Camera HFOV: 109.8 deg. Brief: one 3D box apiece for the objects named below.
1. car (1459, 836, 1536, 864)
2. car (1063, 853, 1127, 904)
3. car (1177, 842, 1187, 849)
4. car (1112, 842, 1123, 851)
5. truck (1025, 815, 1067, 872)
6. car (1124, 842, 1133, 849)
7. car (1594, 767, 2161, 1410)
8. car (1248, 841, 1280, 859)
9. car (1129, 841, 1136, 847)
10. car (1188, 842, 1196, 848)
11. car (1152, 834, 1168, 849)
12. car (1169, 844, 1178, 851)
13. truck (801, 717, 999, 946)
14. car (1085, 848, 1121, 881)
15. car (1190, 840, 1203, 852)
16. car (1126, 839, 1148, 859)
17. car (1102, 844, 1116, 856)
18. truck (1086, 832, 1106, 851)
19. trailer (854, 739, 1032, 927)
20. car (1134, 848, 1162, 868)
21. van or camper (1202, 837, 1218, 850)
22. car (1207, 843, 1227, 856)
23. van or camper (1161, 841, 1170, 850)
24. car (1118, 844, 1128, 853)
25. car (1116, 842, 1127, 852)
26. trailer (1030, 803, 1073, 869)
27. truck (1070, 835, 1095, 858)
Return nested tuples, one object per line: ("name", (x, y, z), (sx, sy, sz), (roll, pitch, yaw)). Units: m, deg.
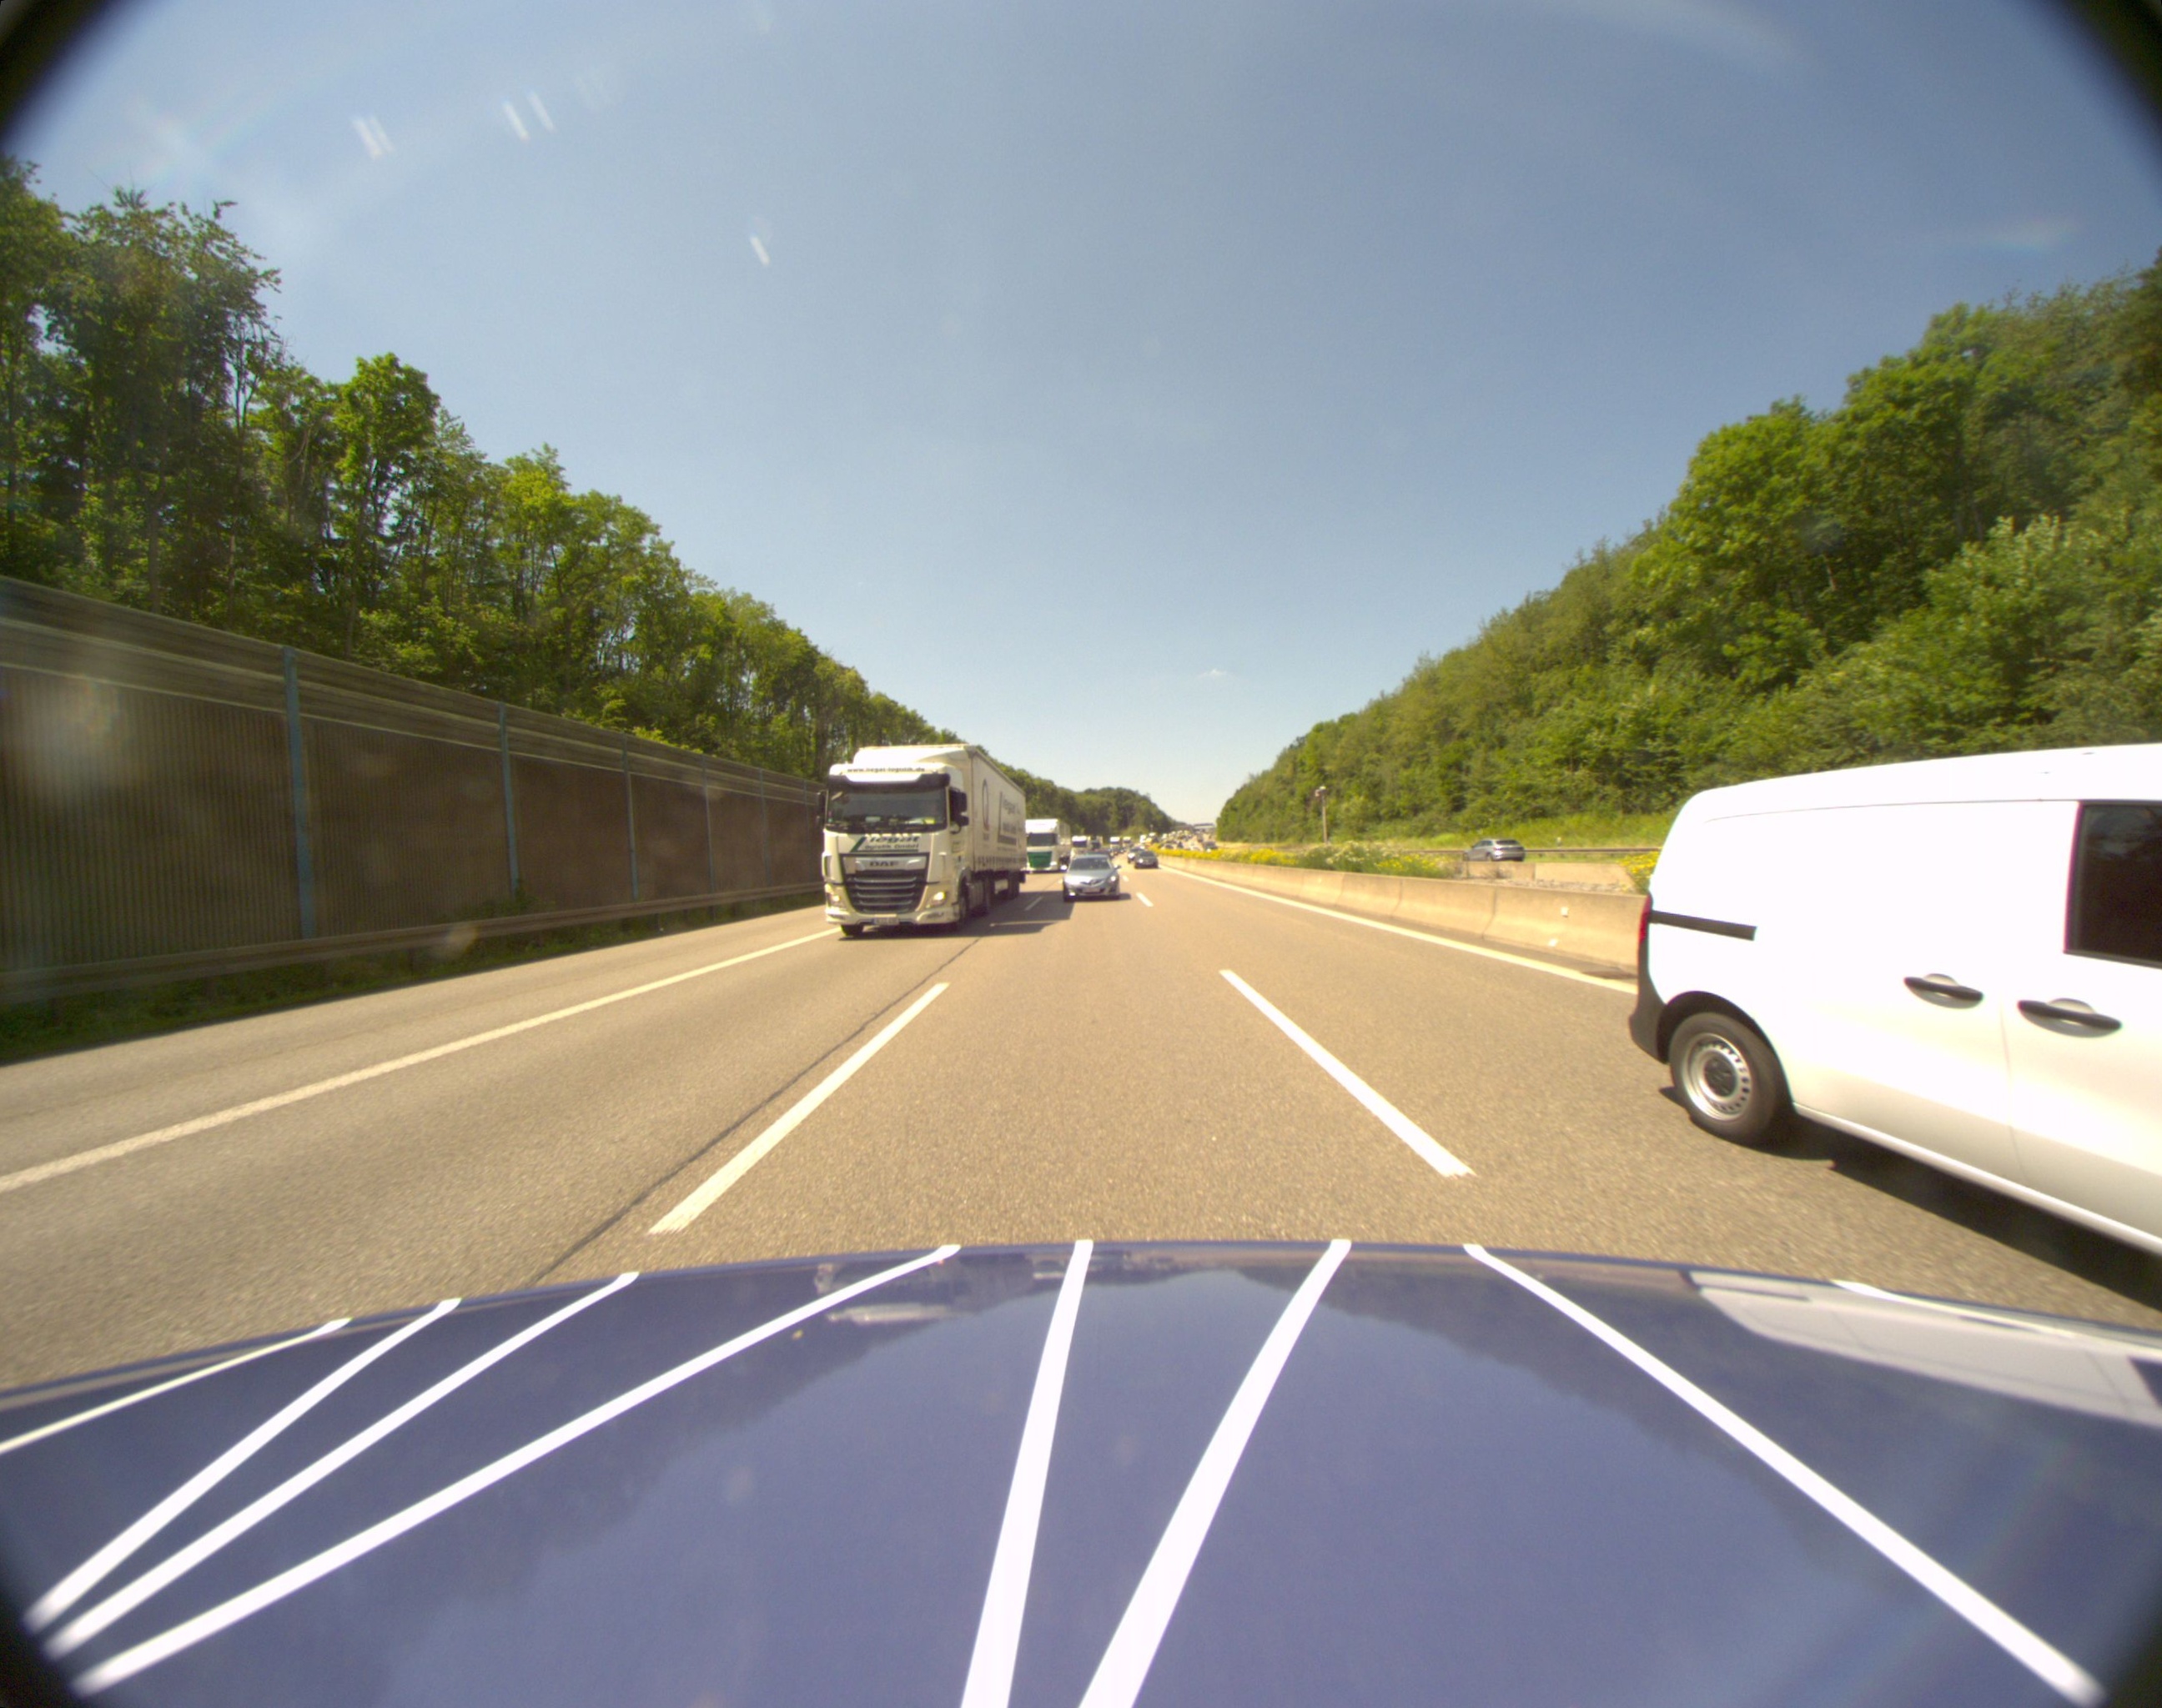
("car", (23.097, -0.226, 42.309), (1.998, 1.424, 4.191), (-2, 0, 1))
("car", (0.418, 0.746, 25.103), (1.887, 1.459, 4.247), (-2, 0, -1))
("car", (26.351, -2.181, 198.170), (1.998, 1.681, 4.400), (-2, 2, 3))
("car", (10.915, -2.247, 225.935), (2.696, 2.468, 6.586), (-2, 2, 8))
("truck", (-2.537, -0.839, 57.712), (2.542, 4.007, 6.624), (-2, 2, 2))
("car", (12.475, -2.213, 198.634), (1.997, 1.728, 4.001), (-2, 2, 6))
("car", (3.892, 0.633, 2.137), (1.769, 1.802, 4.673), (-2, 1, 1))
("car", (16.768, -0.364, 69.747), (1.998, 1.577, 4.273), (-2, 1, 2))
("car", (16.102, -3.051, 235.910), (1.998, 1.728, 4.000), (-2, 2, 6))
("car", (31.810, -2.629, 218.050), (1.997, 1.607, 4.486), (-2, 1, 7))
("car", (11.374, -1.865, 109.473), (1.998, 2.002, 4.000), (-2, 2, 3))
("car", (20.435, -1.435, 167.679), (1.812, 1.477, 3.856), (-2, 0, 4))
("truck", (-3.715, -0.417, 17.168), (2.793, 4.180, 5.869), (-2, 0, 1))
("car", (1.200, 0.535, 42.951), (1.887, 1.696, 4.084), (-2, 0, 1))
("car", (20.877, -1.489, 137.514), (1.998, 2.002, 4.567), (-2, 2, 4))
("car", (5.964, -0.566, 81.497), (1.999, 2.002, 3.998), (-2, 2, -1))
("car", (4.505, -0.672, 122.655), (1.998, 1.728, 4.000), (-2, 2, 5))
("truck", (3.042, -2.569, 151.655), (3.557, 3.695, 7.550), (-2, 2, 3))
("trailer", (-3.578, -0.468, 23.960), (2.793, 4.180, 13.243), (-2, 0, 1))
("car", (5.281, 0.281, 60.202), (1.720, 1.470, 3.999), (-2, 1, -1))
("van or camper", (25.532, -2.082, 150.785), (2.191, 2.546, 6.931), (-2, 2, 3))
("car", (18.572, -0.601, 103.642), (1.998, 1.581, 4.162), (-2, 2, 1))
("van or camper", (21.682, -2.201, 194.983), (1.887, 2.002, 4.587), (-2, 2, 1))
("car", (9.636, -1.247, 174.116), (1.997, 1.728, 4.001), (-2, 2, 7))
("car", (7.903, -1.313, 147.588), (1.998, 1.728, 4.000), (-2, 2, 5))
("trailer", (-2.342, -1.609, 66.001), (2.574, 5.012, 15.269), (-2, 2, 2))
("truck", (0.298, -1.188, 117.244), (3.262, 3.337, 6.863), (-2, 2, 4))
